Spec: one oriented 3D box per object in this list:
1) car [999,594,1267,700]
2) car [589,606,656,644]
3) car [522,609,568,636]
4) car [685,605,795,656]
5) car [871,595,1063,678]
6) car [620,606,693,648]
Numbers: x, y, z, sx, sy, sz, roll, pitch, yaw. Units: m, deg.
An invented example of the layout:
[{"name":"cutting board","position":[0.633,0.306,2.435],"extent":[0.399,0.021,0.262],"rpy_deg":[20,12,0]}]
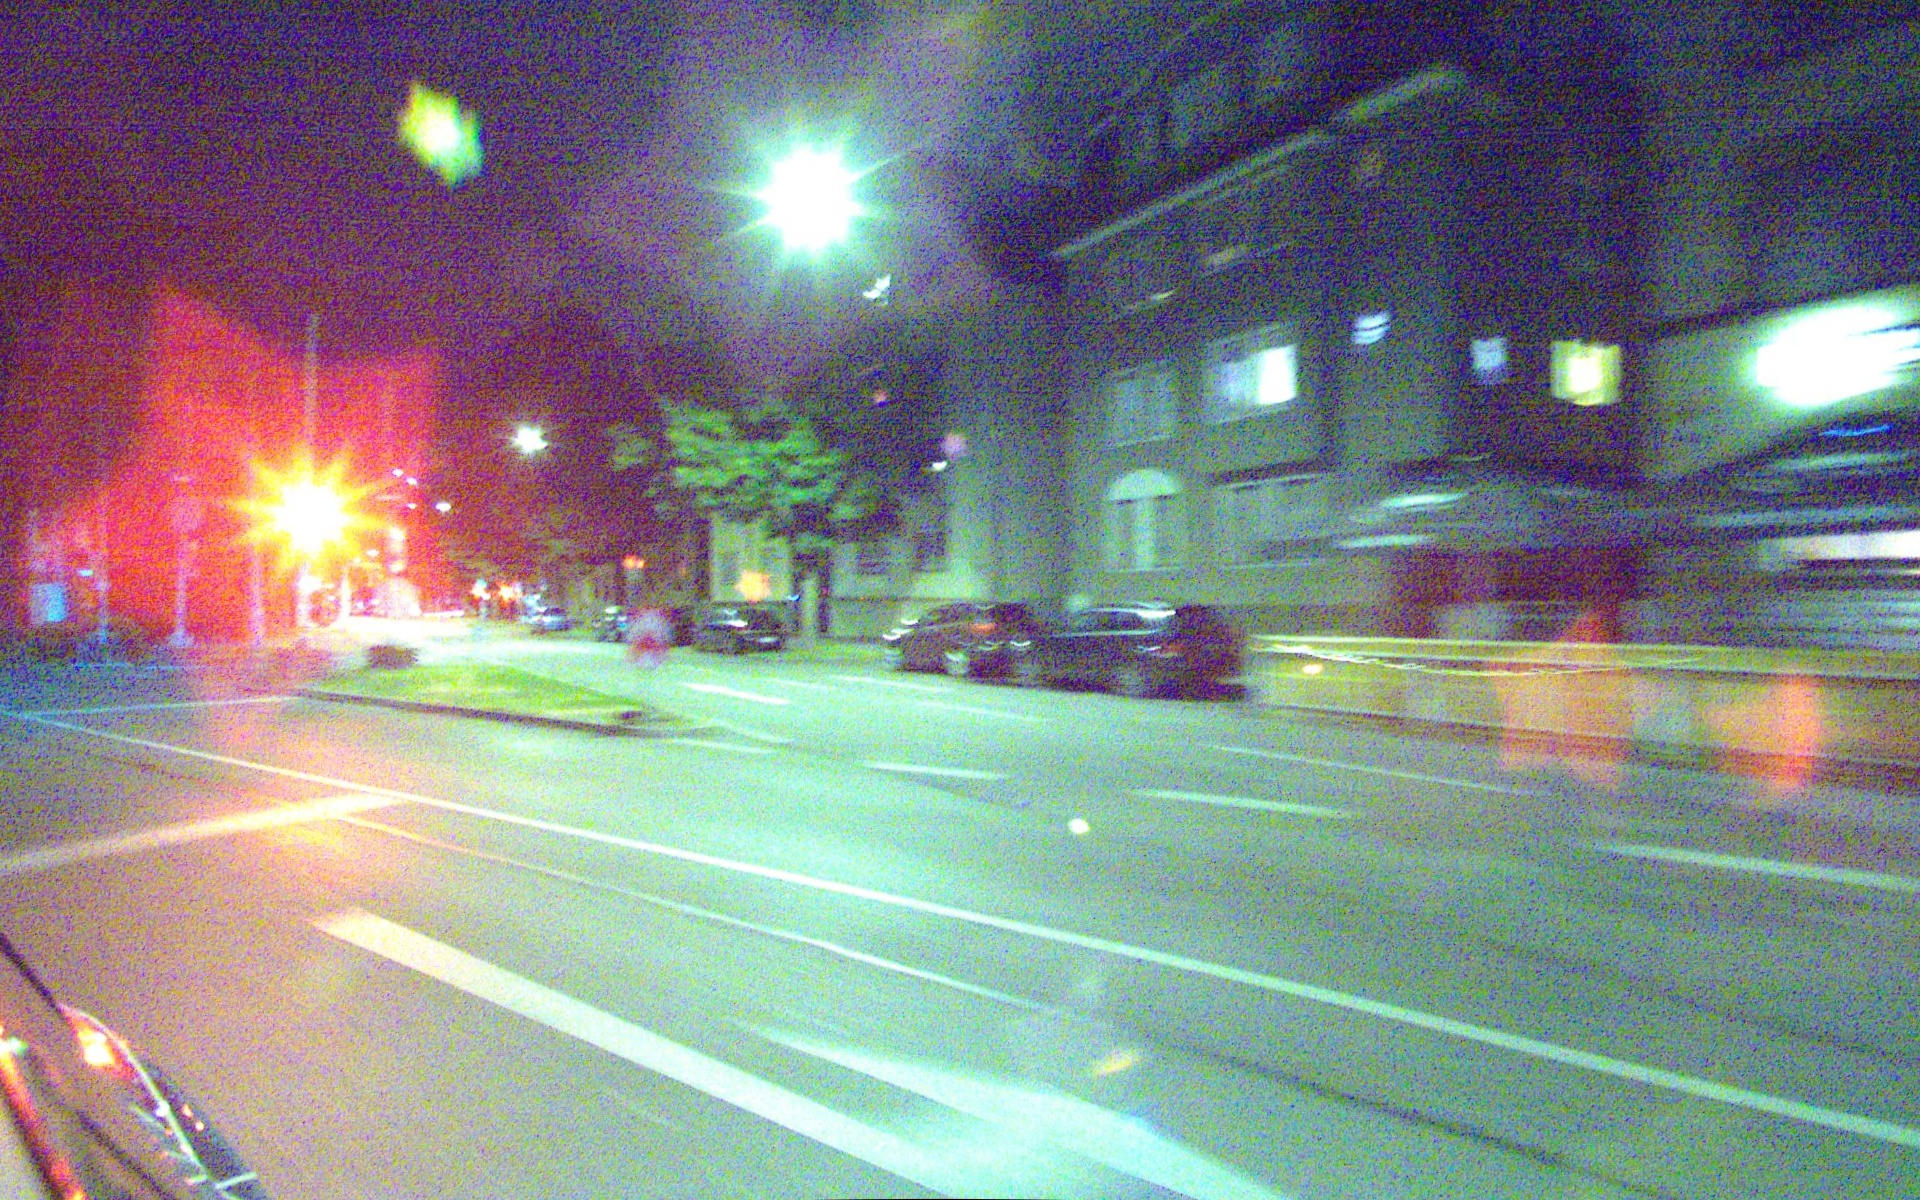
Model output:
[{"name":"car","position":[2.695,0.688,16.847],"extent":[1.835,1.444,4.456],"rpy_deg":[-3,1,-33]},{"name":"car","position":[-14.518,1.048,43.389],"extent":[1.616,1.444,4.362],"rpy_deg":[-4,1,-33]},{"name":"car","position":[-23.507,1.226,57.279],"extent":[1.607,1.475,3.522],"rpy_deg":[0,0,-37]},{"name":"car","position":[-7.117,0.935,32.362],"extent":[1.836,1.444,4.414],"rpy_deg":[-2,1,-35]},{"name":"car","position":[0.019,0.691,21.157],"extent":[1.835,1.490,4.485],"rpy_deg":[-2,1,-33]},{"name":"car","position":[-11.817,0.998,39.224],"extent":[1.530,1.444,4.360],"rpy_deg":[-4,1,-33]}]
